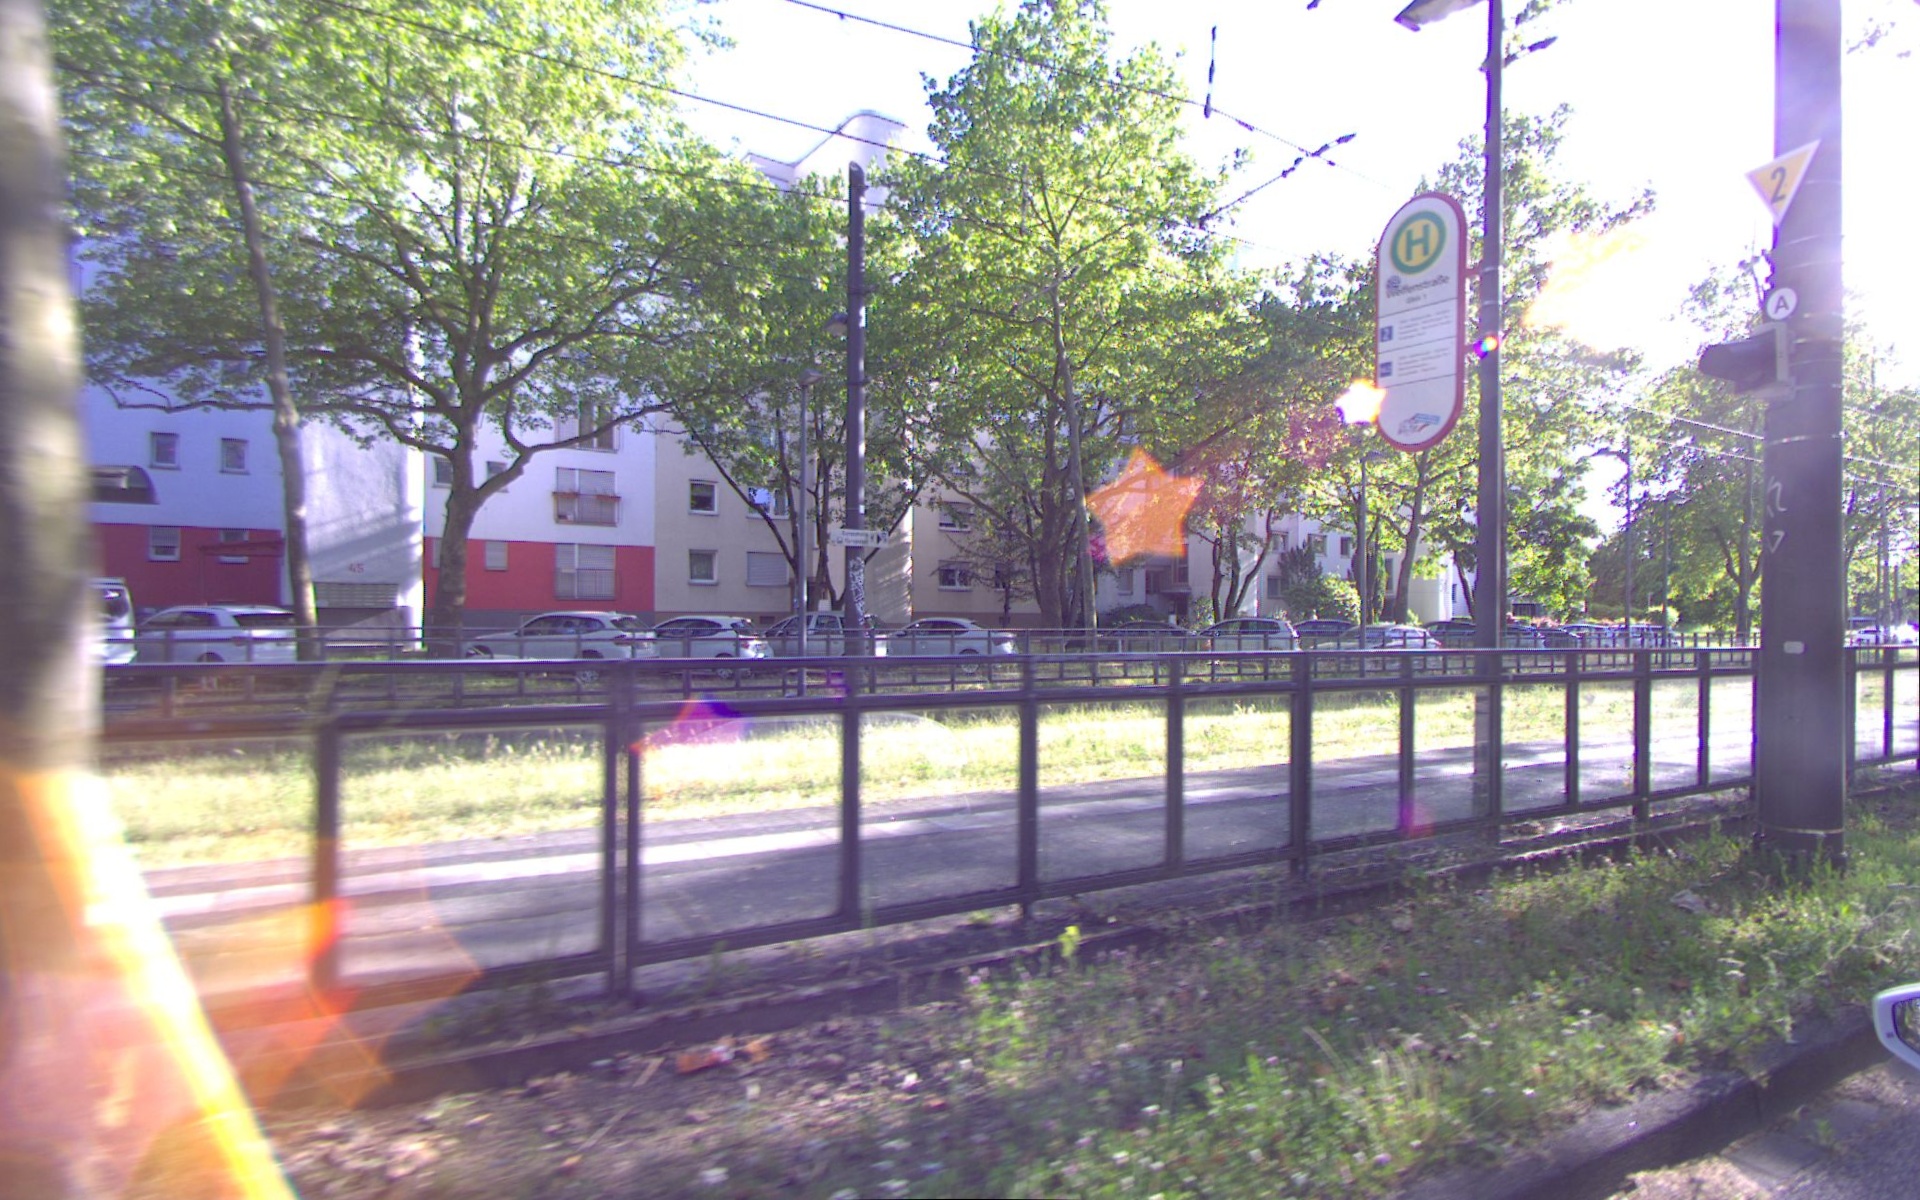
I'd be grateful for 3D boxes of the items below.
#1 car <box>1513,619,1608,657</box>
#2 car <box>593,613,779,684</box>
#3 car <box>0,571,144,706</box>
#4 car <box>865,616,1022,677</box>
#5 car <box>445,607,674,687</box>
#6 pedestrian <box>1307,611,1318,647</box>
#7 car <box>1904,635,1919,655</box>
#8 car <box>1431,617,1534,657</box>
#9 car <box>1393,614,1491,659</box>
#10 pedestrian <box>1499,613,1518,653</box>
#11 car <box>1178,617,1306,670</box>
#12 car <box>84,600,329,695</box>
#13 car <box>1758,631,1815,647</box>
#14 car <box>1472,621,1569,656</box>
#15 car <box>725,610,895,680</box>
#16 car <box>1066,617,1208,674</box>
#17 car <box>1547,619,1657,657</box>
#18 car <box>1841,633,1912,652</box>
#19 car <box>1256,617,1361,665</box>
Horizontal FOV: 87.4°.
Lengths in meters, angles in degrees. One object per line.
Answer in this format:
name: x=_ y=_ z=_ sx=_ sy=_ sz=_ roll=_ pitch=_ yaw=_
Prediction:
car: x=25.899 y=1.618 z=43.436 sx=3.221 sy=1.450 sz=1.571 roll=2 pitch=0 yaw=18
car: x=-6.532 y=1.109 z=24.028 sx=3.977 sy=1.452 sz=1.577 roll=2 pitch=1 yaw=11
car: x=-16.580 y=0.557 z=17.369 sx=4.412 sy=2.091 sz=1.899 roll=1 pitch=1 yaw=21
car: x=-0.417 y=1.217 z=26.985 sx=3.977 sy=1.493 sz=1.577 roll=1 pitch=1 yaw=11
car: x=-8.904 y=1.003 z=22.479 sx=4.408 sy=1.524 sz=1.901 roll=2 pitch=1 yaw=11
pedestrian: x=18.268 y=1.497 z=52.115 sx=0.446 sy=1.816 sz=0.315 roll=1 pitch=0 yaw=-37
car: x=82.528 y=3.794 z=84.315 sx=1.866 sy=1.632 sz=4.491 roll=-2 pitch=-1 yaw=-11
car: x=20.633 y=1.435 z=39.755 sx=3.316 sy=1.445 sz=1.541 roll=1 pitch=0 yaw=13
car: x=18.151 y=1.365 z=37.960 sx=3.075 sy=1.568 sz=1.466 roll=1 pitch=1 yaw=13
pedestrian: x=25.403 y=1.520 z=46.530 sx=0.709 sy=1.816 sz=0.473 roll=1 pitch=0 yaw=-31
car: x=9.212 y=1.375 z=32.852 sx=3.914 sy=1.565 sz=1.646 roll=1 pitch=1 yaw=19
car: x=-14.342 y=0.848 z=19.170 sx=3.978 sy=1.632 sz=1.690 roll=1 pitch=1 yaw=16
car: x=80.381 y=3.745 z=97.782 sx=1.783 sy=1.455 sz=4.040 roll=-2 pitch=-1 yaw=-11
car: x=23.277 y=1.574 z=41.813 sx=3.318 sy=1.270 sz=1.465 roll=2 pitch=0 yaw=20
car: x=-3.783 y=1.102 z=25.524 sx=3.977 sy=1.590 sz=1.576 roll=1 pitch=2 yaw=11
car: x=5.350 y=1.357 z=30.447 sx=4.090 sy=1.565 sz=1.647 roll=1 pitch=1 yaw=11
car: x=28.767 y=1.693 z=45.139 sx=3.842 sy=1.496 sz=1.632 roll=2 pitch=0 yaw=17
car: x=82.236 y=3.769 z=90.161 sx=1.866 sy=1.632 sz=4.491 roll=0 pitch=-1 yaw=-11
car: x=12.167 y=1.388 z=35.084 sx=3.321 sy=1.529 sz=1.463 roll=1 pitch=1 yaw=27
